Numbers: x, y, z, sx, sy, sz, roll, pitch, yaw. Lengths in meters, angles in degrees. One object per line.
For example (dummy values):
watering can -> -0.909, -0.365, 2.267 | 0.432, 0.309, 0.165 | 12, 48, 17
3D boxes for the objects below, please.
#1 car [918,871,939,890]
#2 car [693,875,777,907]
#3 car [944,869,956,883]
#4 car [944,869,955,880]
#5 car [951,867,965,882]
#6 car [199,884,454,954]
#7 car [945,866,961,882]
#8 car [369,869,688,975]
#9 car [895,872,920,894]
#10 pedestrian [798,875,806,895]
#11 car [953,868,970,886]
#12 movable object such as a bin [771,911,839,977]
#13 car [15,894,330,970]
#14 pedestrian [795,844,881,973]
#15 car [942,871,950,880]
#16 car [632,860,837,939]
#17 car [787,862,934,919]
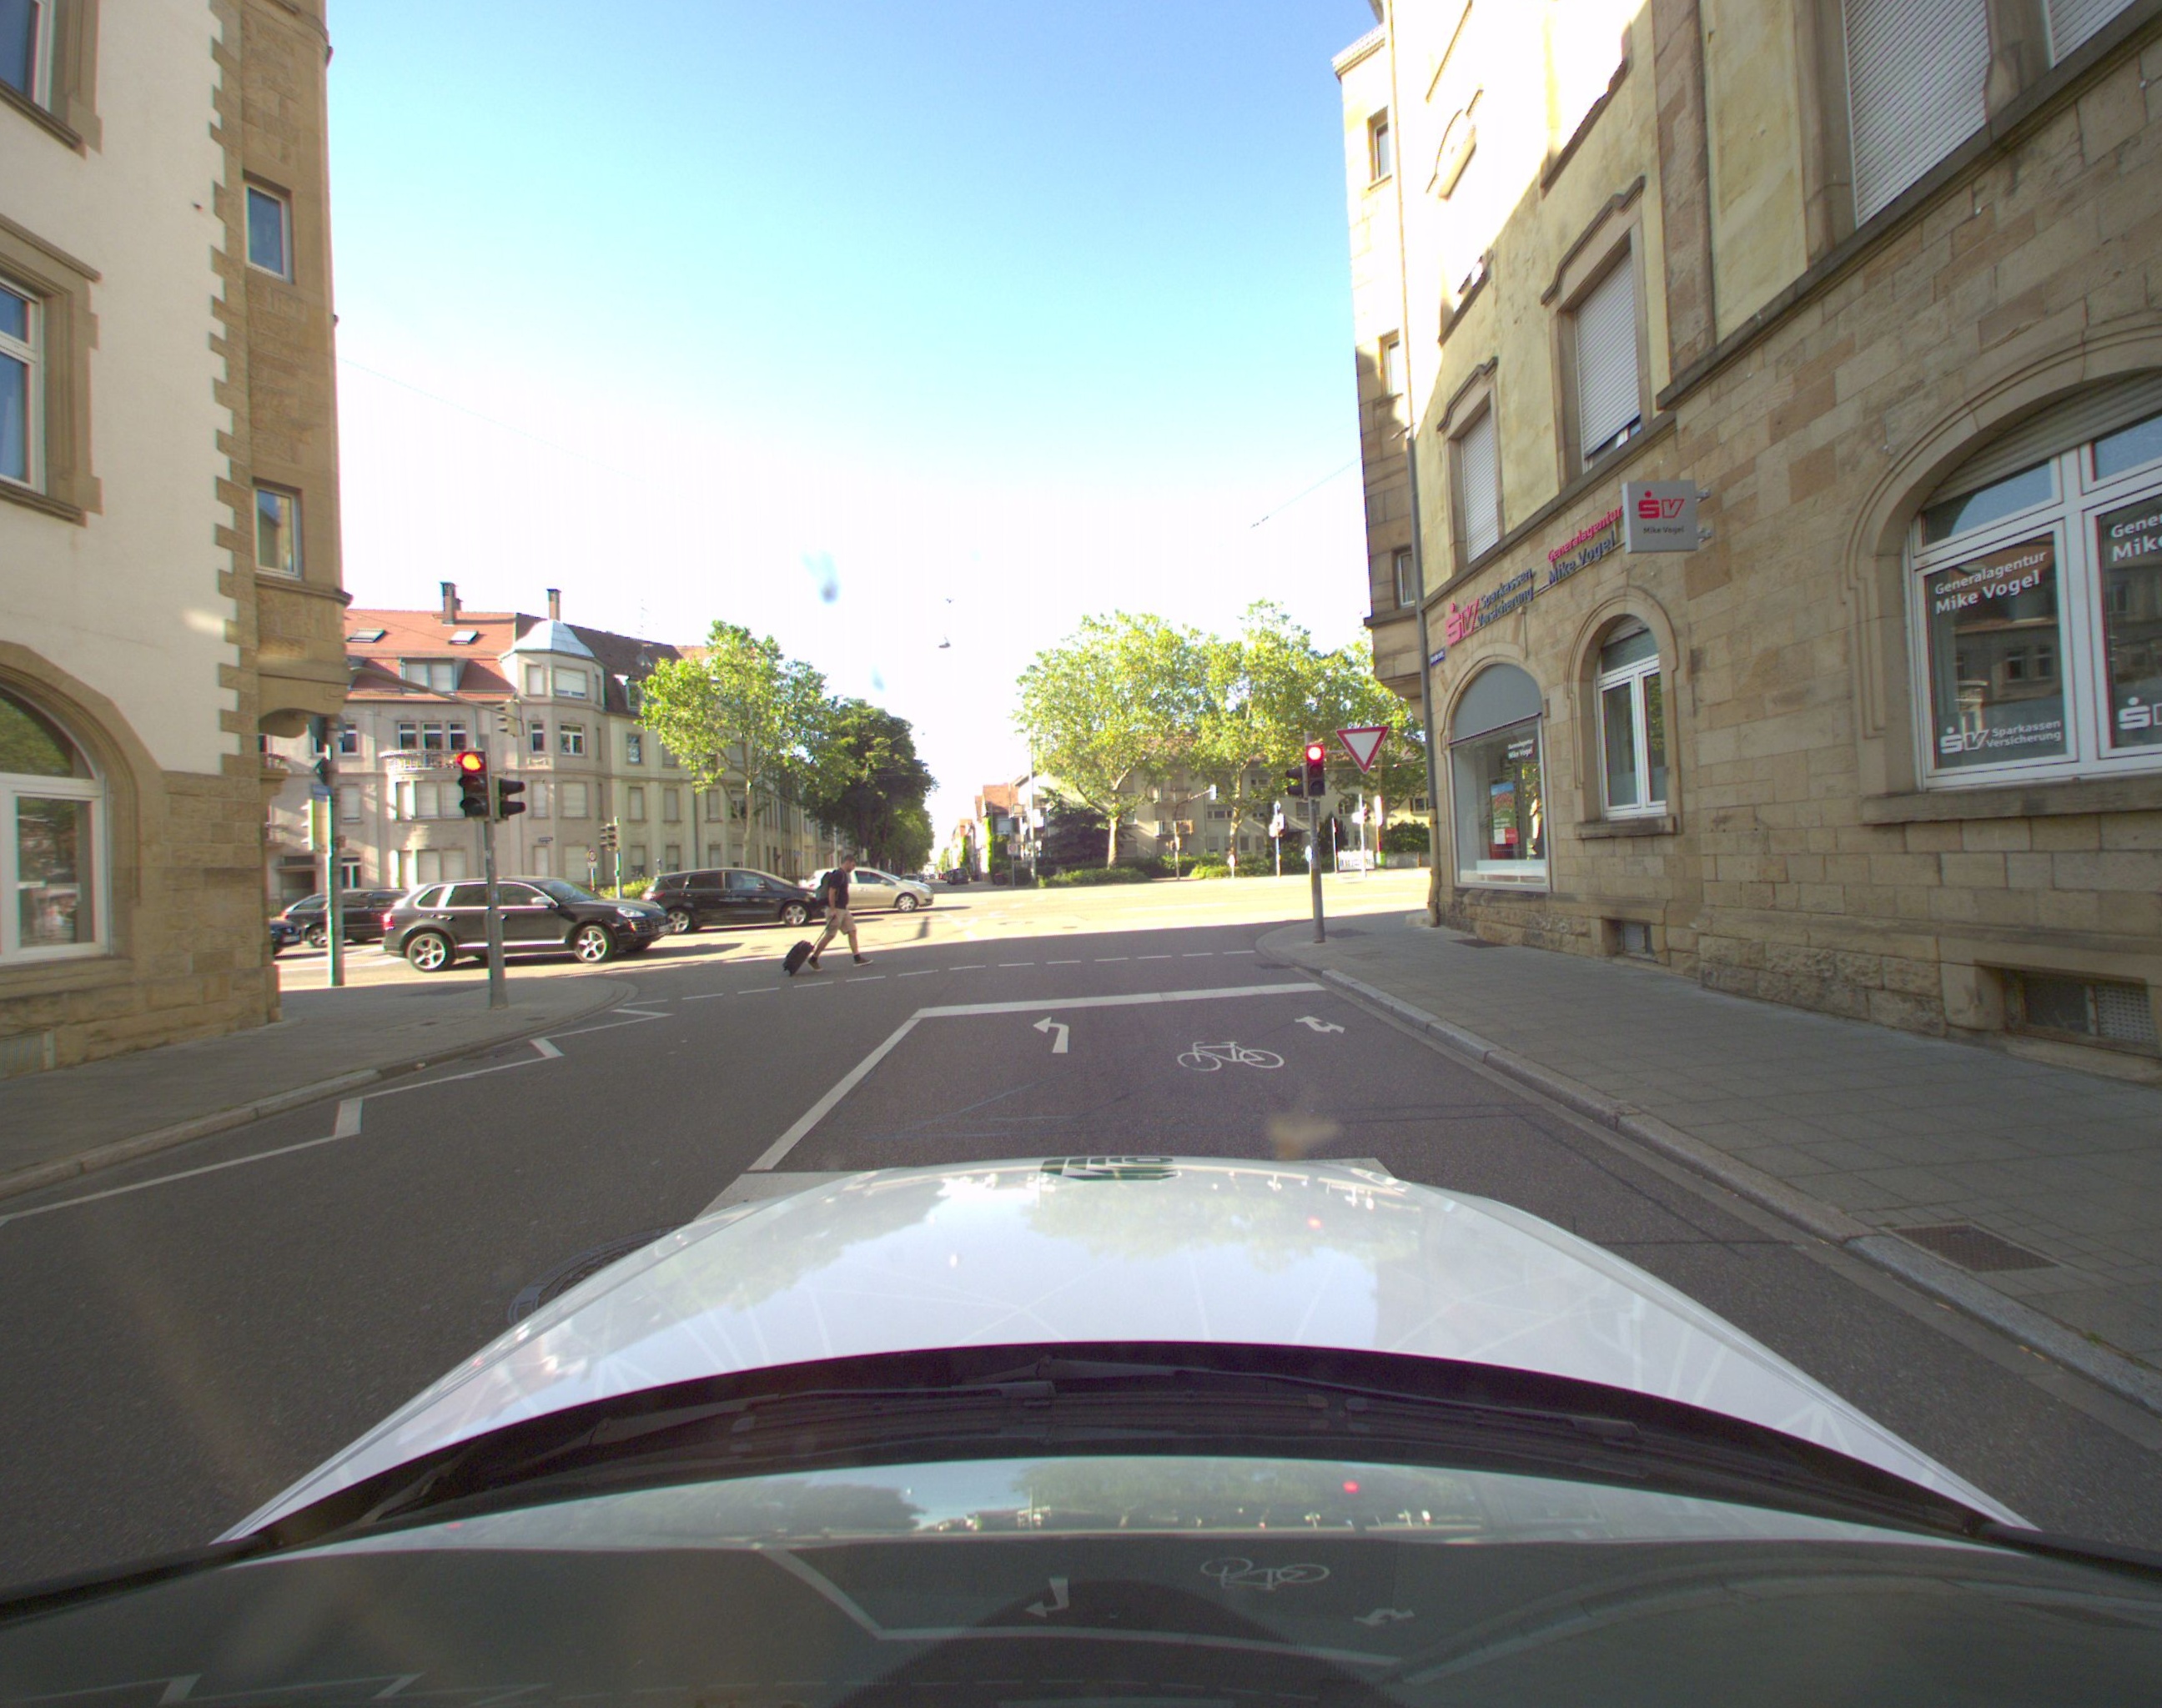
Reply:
car -> -13.554, 2.335, 72.678 | 1.698, 1.483, 3.522 | -4, 0, -10
car -> -17.737, 1.865, 41.920 | 3.793, 1.400, 1.635 | -2, 0, -20
car -> -20.739, 3.475, 128.827 | 1.773, 1.918, 3.522 | -4, 0, -10
car -> -23.746, 3.700, 147.196 | 1.773, 1.918, 3.522 | -4, 0, -10
car -> -17.553, 2.889, 115.858 | 1.773, 1.918, 3.522 | -4, 0, -10
car -> -20.092, 1.688, 21.931 | 4.620, 1.456, 1.974 | -3, 0, -11
car -> -16.561, 2.546, 105.215 | 1.773, 1.918, 3.522 | -4, 0, -10
car -> -10.629, 1.251, 16.051 | 4.690, 1.694, 2.074 | -2, 0, -8
car -> -13.592, 2.262, 63.828 | 1.698, 1.483, 3.522 | -4, 0, -10
pedestrian -> -20.578, 2.300, 60.063 | 0.489, 1.442, 0.702 | 0, -1, -14
car -> -13.950, 2.694, 95.025 | 1.773, 1.918, 3.522 | -4, 0, -10
movable object such as a bin -> -4.155, 1.345, 12.306 | 0.862, 0.892, 0.507 | -3, 0, -11
car -> -20.799, 1.734, 18.895 | 4.627, 1.456, 1.721 | -1, -1, -17
pedestrian -> -3.755, 0.819, 12.661 | 1.066, 1.848, 0.746 | -4, 0, -11
car -> -30.121, 4.807, 181.739 | 1.773, 1.918, 3.522 | -4, 0, -10
car -> -8.987, 1.136, 21.549 | 4.668, 1.664, 1.722 | -4, 0, -14
car -> -6.721, 1.076, 25.200 | 4.205, 1.456, 1.671 | -3, 0, -13
